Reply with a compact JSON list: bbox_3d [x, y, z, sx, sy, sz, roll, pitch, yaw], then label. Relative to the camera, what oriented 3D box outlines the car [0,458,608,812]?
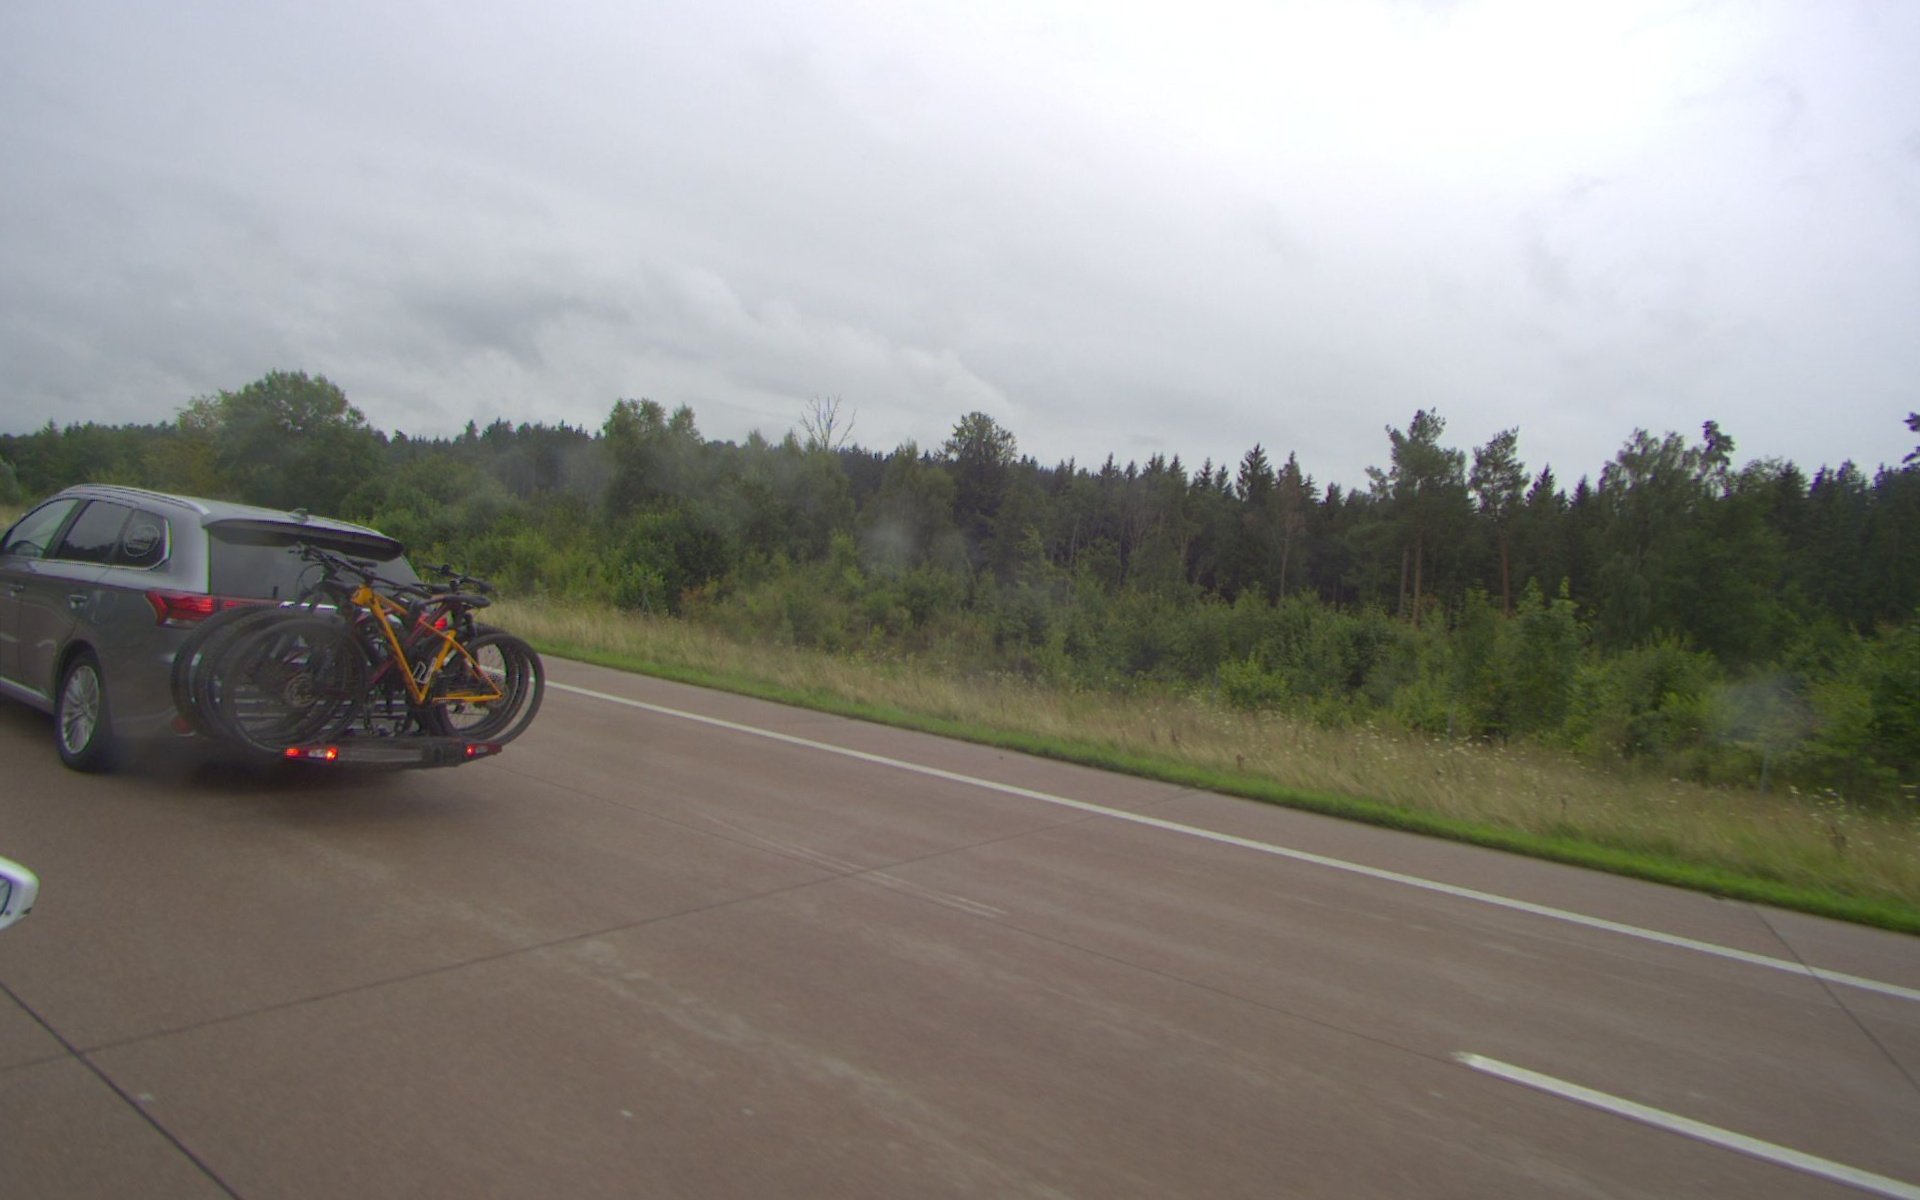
[{"bbox_3d":[-5.252,0.036,6.986,5.723,1.611,1.998,6,-2,31],"label":"car"}]
